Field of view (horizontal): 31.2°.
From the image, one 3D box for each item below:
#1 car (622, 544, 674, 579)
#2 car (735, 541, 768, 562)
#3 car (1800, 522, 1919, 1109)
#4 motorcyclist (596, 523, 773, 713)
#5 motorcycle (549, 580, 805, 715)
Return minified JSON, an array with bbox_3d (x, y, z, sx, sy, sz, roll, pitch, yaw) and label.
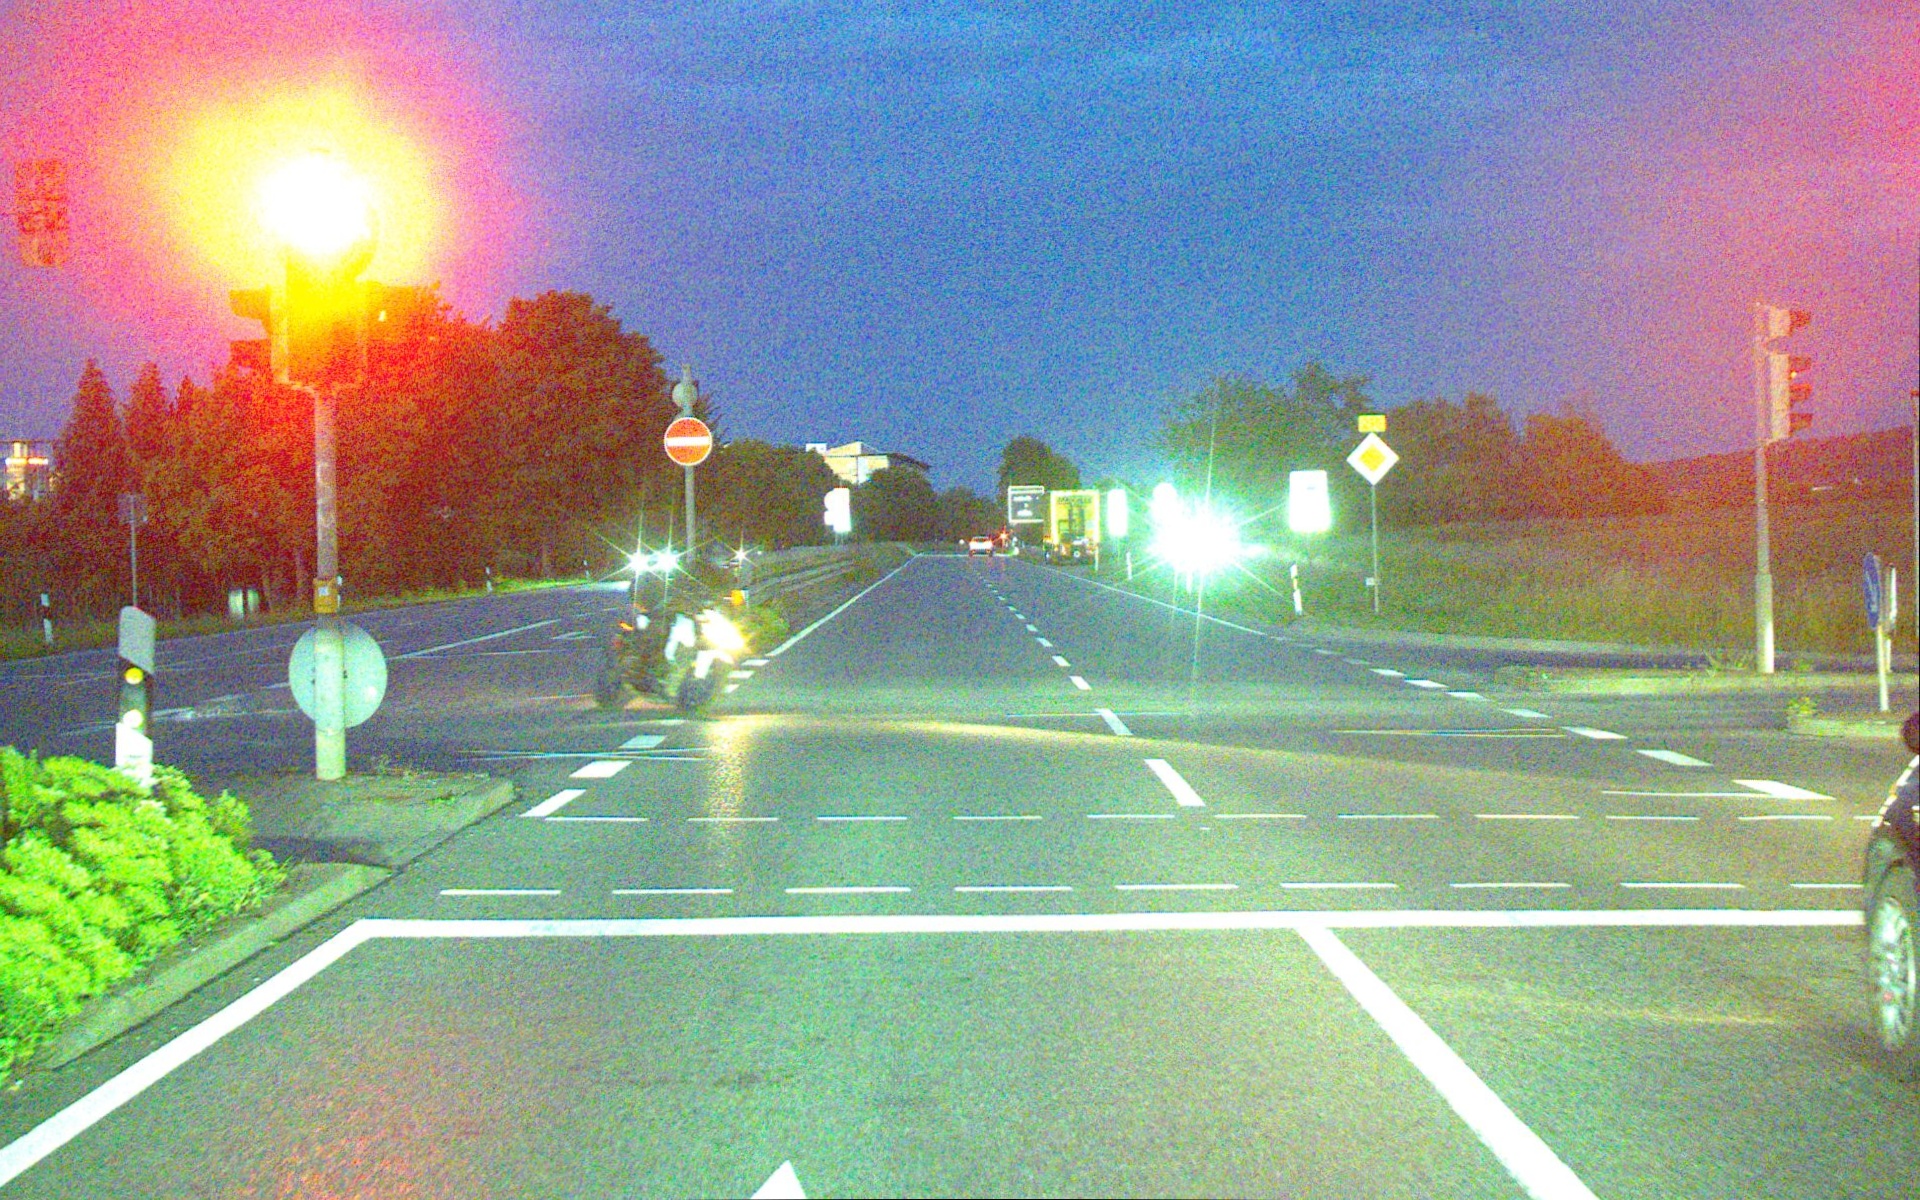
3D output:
[{"bbox_3d":[-14.135,-1.768,155.807,1.993,1.514,4.298,-1,1,-1],"label":"car"},{"bbox_3d":[-14.166,-3.316,233.791,1.993,1.382,4.000,-1,1,-1],"label":"car"},{"bbox_3d":[3.307,0.574,8.147,1.670,1.515,4.106,0,1,1],"label":"car"},{"bbox_3d":[-2.374,0.139,29.601,1.137,1.579,0.972,-2,1,-37],"label":"motorcyclist"},{"bbox_3d":[-2.469,0.386,29.693,0.979,1.095,2.508,-2,2,-38],"label":"motorcycle"}]
